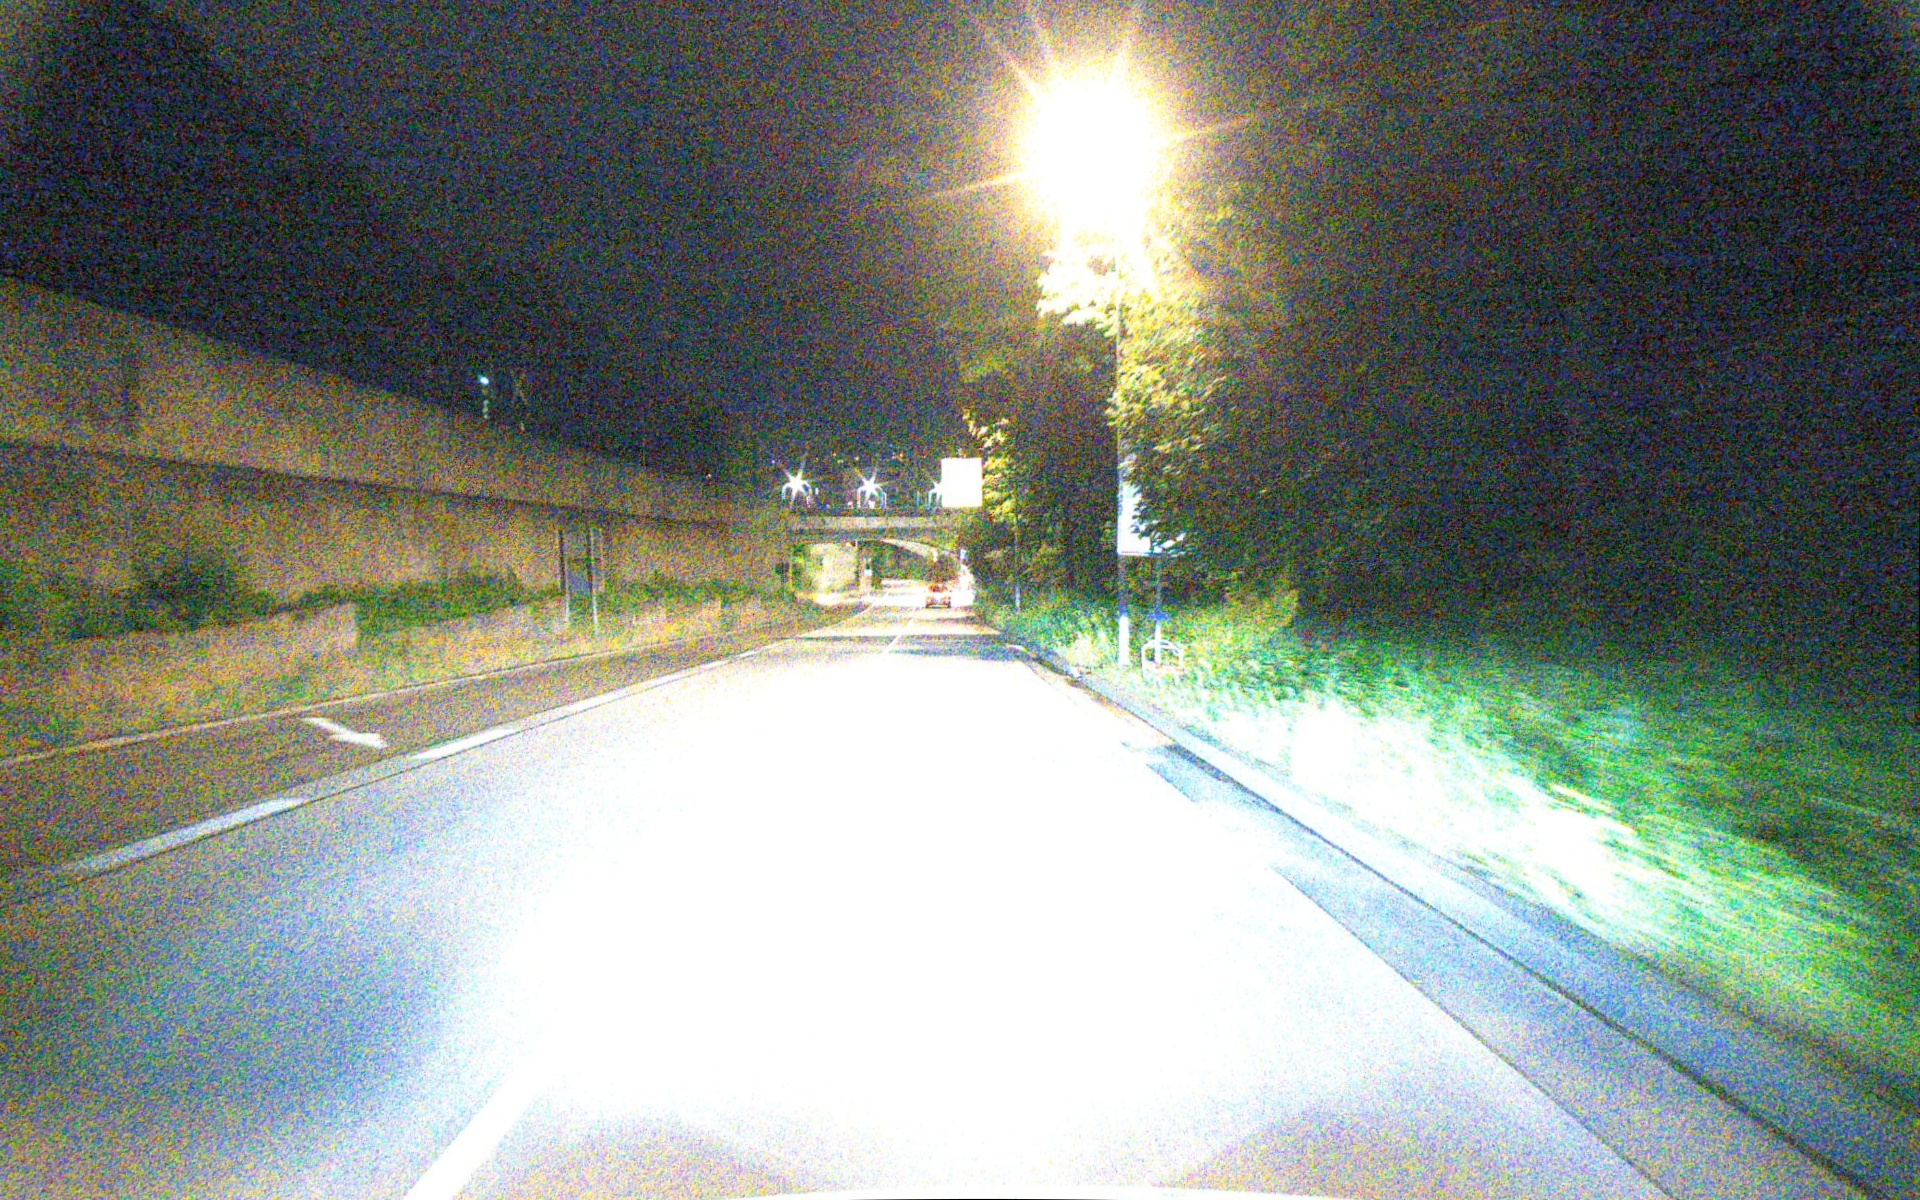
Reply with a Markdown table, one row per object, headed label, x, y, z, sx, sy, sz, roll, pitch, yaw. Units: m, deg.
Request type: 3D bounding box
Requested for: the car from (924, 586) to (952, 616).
| label | x | y | z | sx | sy | sz | roll | pitch | yaw |
| --- | --- | --- | --- | --- | --- | --- | --- | --- | --- |
| car | -1.542 | 0.100 | 116.433 | 1.880 | 2.049 | 4.121 | 1 | 0 | -1 |
